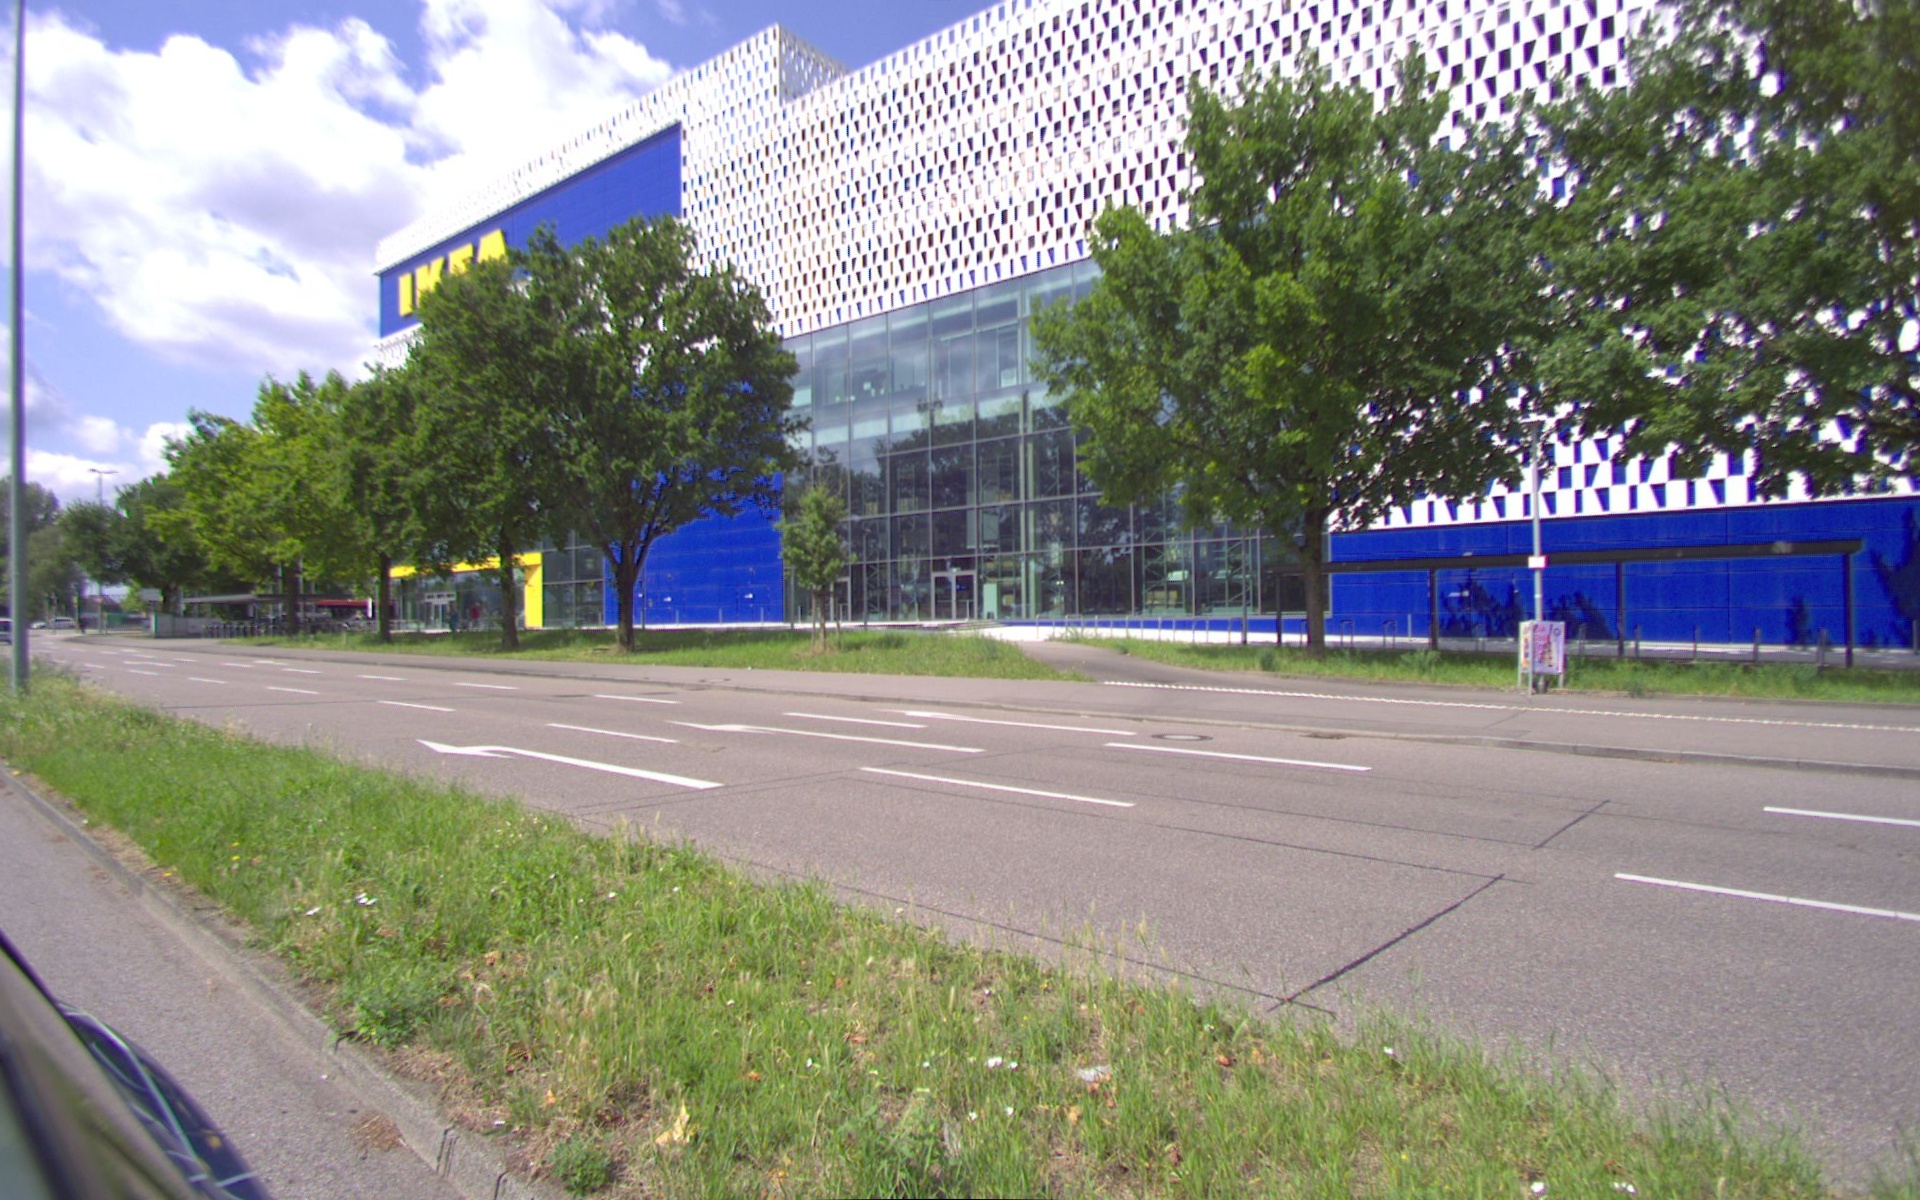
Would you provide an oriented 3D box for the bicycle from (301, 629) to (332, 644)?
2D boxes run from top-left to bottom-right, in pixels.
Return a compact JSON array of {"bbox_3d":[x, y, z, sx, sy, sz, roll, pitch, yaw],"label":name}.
[{"bbox_3d":[-48.390,2.744,76.080,0.528,1.078,1.917,-1,-1,34],"label":"bicycle"}]

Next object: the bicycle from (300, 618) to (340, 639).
[{"bbox_3d":[-38.740,1.734,61.288,0.629,1.193,1.906,-2,-1,38],"label":"bicycle"}]

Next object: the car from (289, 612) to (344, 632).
[{"bbox_3d":[-71.518,2.436,112.543,1.996,2.029,4.765,-2,-1,36],"label":"car"}]

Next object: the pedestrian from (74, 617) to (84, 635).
[{"bbox_3d":[-75.375,2.206,86.550,0.615,1.501,0.435,-1,-1,23],"label":"pedestrian"}]

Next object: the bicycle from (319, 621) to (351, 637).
[{"bbox_3d":[-46.092,2.114,74.635,0.519,1.098,1.913,-2,-1,35],"label":"bicycle"}]

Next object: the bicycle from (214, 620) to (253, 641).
[{"bbox_3d":[-46.450,1.937,64.702,0.629,1.282,1.906,-2,-1,38],"label":"bicycle"}]

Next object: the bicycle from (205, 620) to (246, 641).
[{"bbox_3d":[-47.481,1.956,65.461,0.629,1.282,2.069,-2,-1,38],"label":"bicycle"}]

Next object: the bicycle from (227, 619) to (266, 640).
[{"bbox_3d":[-44.582,1.840,63.246,0.629,1.282,1.906,-2,-1,38],"label":"bicycle"}]

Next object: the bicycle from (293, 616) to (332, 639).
[{"bbox_3d":[-39.538,1.673,61.773,0.629,1.282,1.906,-2,-1,38],"label":"bicycle"}]

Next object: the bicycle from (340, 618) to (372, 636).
[{"bbox_3d":[-43.291,1.936,72.536,0.596,1.253,1.928,-1,-1,35],"label":"bicycle"}]

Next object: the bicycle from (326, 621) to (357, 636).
[{"bbox_3d":[-45.142,2.087,73.888,0.528,1.078,1.917,-1,-1,34],"label":"bicycle"}]

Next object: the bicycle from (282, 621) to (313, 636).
[{"bbox_3d":[-50.956,2.164,77.859,0.527,1.078,1.919,-1,-1,33],"label":"bicycle"}]

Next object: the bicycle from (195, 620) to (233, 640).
[{"bbox_3d":[-49.318,1.999,66.942,0.629,1.282,1.906,-2,-1,38],"label":"bicycle"}]

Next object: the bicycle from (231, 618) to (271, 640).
[{"bbox_3d":[-43.793,1.807,62.519,0.629,1.282,1.906,-2,-1,38],"label":"bicycle"}]

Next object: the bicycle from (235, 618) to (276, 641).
[{"bbox_3d":[-42.815,1.786,61.516,0.629,1.282,1.906,-2,-1,38],"label":"bicycle"}]

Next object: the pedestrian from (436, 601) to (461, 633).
[{"bbox_3d":[-28.224,0.941,55.864,0.886,1.715,0.941,-1,0,39],"label":"pedestrian"}]

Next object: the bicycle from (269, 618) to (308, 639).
[{"bbox_3d":[-42.575,1.795,64.175,0.629,1.282,1.906,-2,-1,38],"label":"bicycle"}]

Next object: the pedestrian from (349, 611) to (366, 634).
[{"bbox_3d":[-45.313,1.705,76.135,0.710,1.719,0.887,-1,-1,38],"label":"pedestrian"}]

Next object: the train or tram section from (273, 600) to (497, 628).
[{"bbox_3d":[-71.723,1.869,127.852,4.523,3.055,24.810,-2,-3,37],"label":"train or tram section"}]

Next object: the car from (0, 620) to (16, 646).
[{"bbox_3d":[-54.704,1.864,57.124,3.668,1.440,1.626,-1,-2,41],"label":"car"}]

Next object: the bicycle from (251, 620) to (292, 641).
[{"bbox_3d":[-40.873,1.793,60.075,0.629,1.192,1.906,-2,-1,38],"label":"bicycle"}]

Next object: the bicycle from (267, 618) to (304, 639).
[{"bbox_3d":[-43.268,1.803,64.922,0.629,1.282,1.906,-2,-1,38],"label":"bicycle"}]

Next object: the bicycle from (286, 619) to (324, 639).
[{"bbox_3d":[-40.403,1.773,62.441,0.629,1.188,1.906,-2,-1,38],"label":"bicycle"}]

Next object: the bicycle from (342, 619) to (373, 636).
[{"bbox_3d":[-43.653,1.964,73.356,0.528,1.219,1.917,-1,-1,34],"label":"bicycle"}]

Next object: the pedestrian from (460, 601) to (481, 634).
[{"bbox_3d":[-27.623,0.961,57.115,0.886,1.836,0.746,-1,0,39],"label":"pedestrian"}]
